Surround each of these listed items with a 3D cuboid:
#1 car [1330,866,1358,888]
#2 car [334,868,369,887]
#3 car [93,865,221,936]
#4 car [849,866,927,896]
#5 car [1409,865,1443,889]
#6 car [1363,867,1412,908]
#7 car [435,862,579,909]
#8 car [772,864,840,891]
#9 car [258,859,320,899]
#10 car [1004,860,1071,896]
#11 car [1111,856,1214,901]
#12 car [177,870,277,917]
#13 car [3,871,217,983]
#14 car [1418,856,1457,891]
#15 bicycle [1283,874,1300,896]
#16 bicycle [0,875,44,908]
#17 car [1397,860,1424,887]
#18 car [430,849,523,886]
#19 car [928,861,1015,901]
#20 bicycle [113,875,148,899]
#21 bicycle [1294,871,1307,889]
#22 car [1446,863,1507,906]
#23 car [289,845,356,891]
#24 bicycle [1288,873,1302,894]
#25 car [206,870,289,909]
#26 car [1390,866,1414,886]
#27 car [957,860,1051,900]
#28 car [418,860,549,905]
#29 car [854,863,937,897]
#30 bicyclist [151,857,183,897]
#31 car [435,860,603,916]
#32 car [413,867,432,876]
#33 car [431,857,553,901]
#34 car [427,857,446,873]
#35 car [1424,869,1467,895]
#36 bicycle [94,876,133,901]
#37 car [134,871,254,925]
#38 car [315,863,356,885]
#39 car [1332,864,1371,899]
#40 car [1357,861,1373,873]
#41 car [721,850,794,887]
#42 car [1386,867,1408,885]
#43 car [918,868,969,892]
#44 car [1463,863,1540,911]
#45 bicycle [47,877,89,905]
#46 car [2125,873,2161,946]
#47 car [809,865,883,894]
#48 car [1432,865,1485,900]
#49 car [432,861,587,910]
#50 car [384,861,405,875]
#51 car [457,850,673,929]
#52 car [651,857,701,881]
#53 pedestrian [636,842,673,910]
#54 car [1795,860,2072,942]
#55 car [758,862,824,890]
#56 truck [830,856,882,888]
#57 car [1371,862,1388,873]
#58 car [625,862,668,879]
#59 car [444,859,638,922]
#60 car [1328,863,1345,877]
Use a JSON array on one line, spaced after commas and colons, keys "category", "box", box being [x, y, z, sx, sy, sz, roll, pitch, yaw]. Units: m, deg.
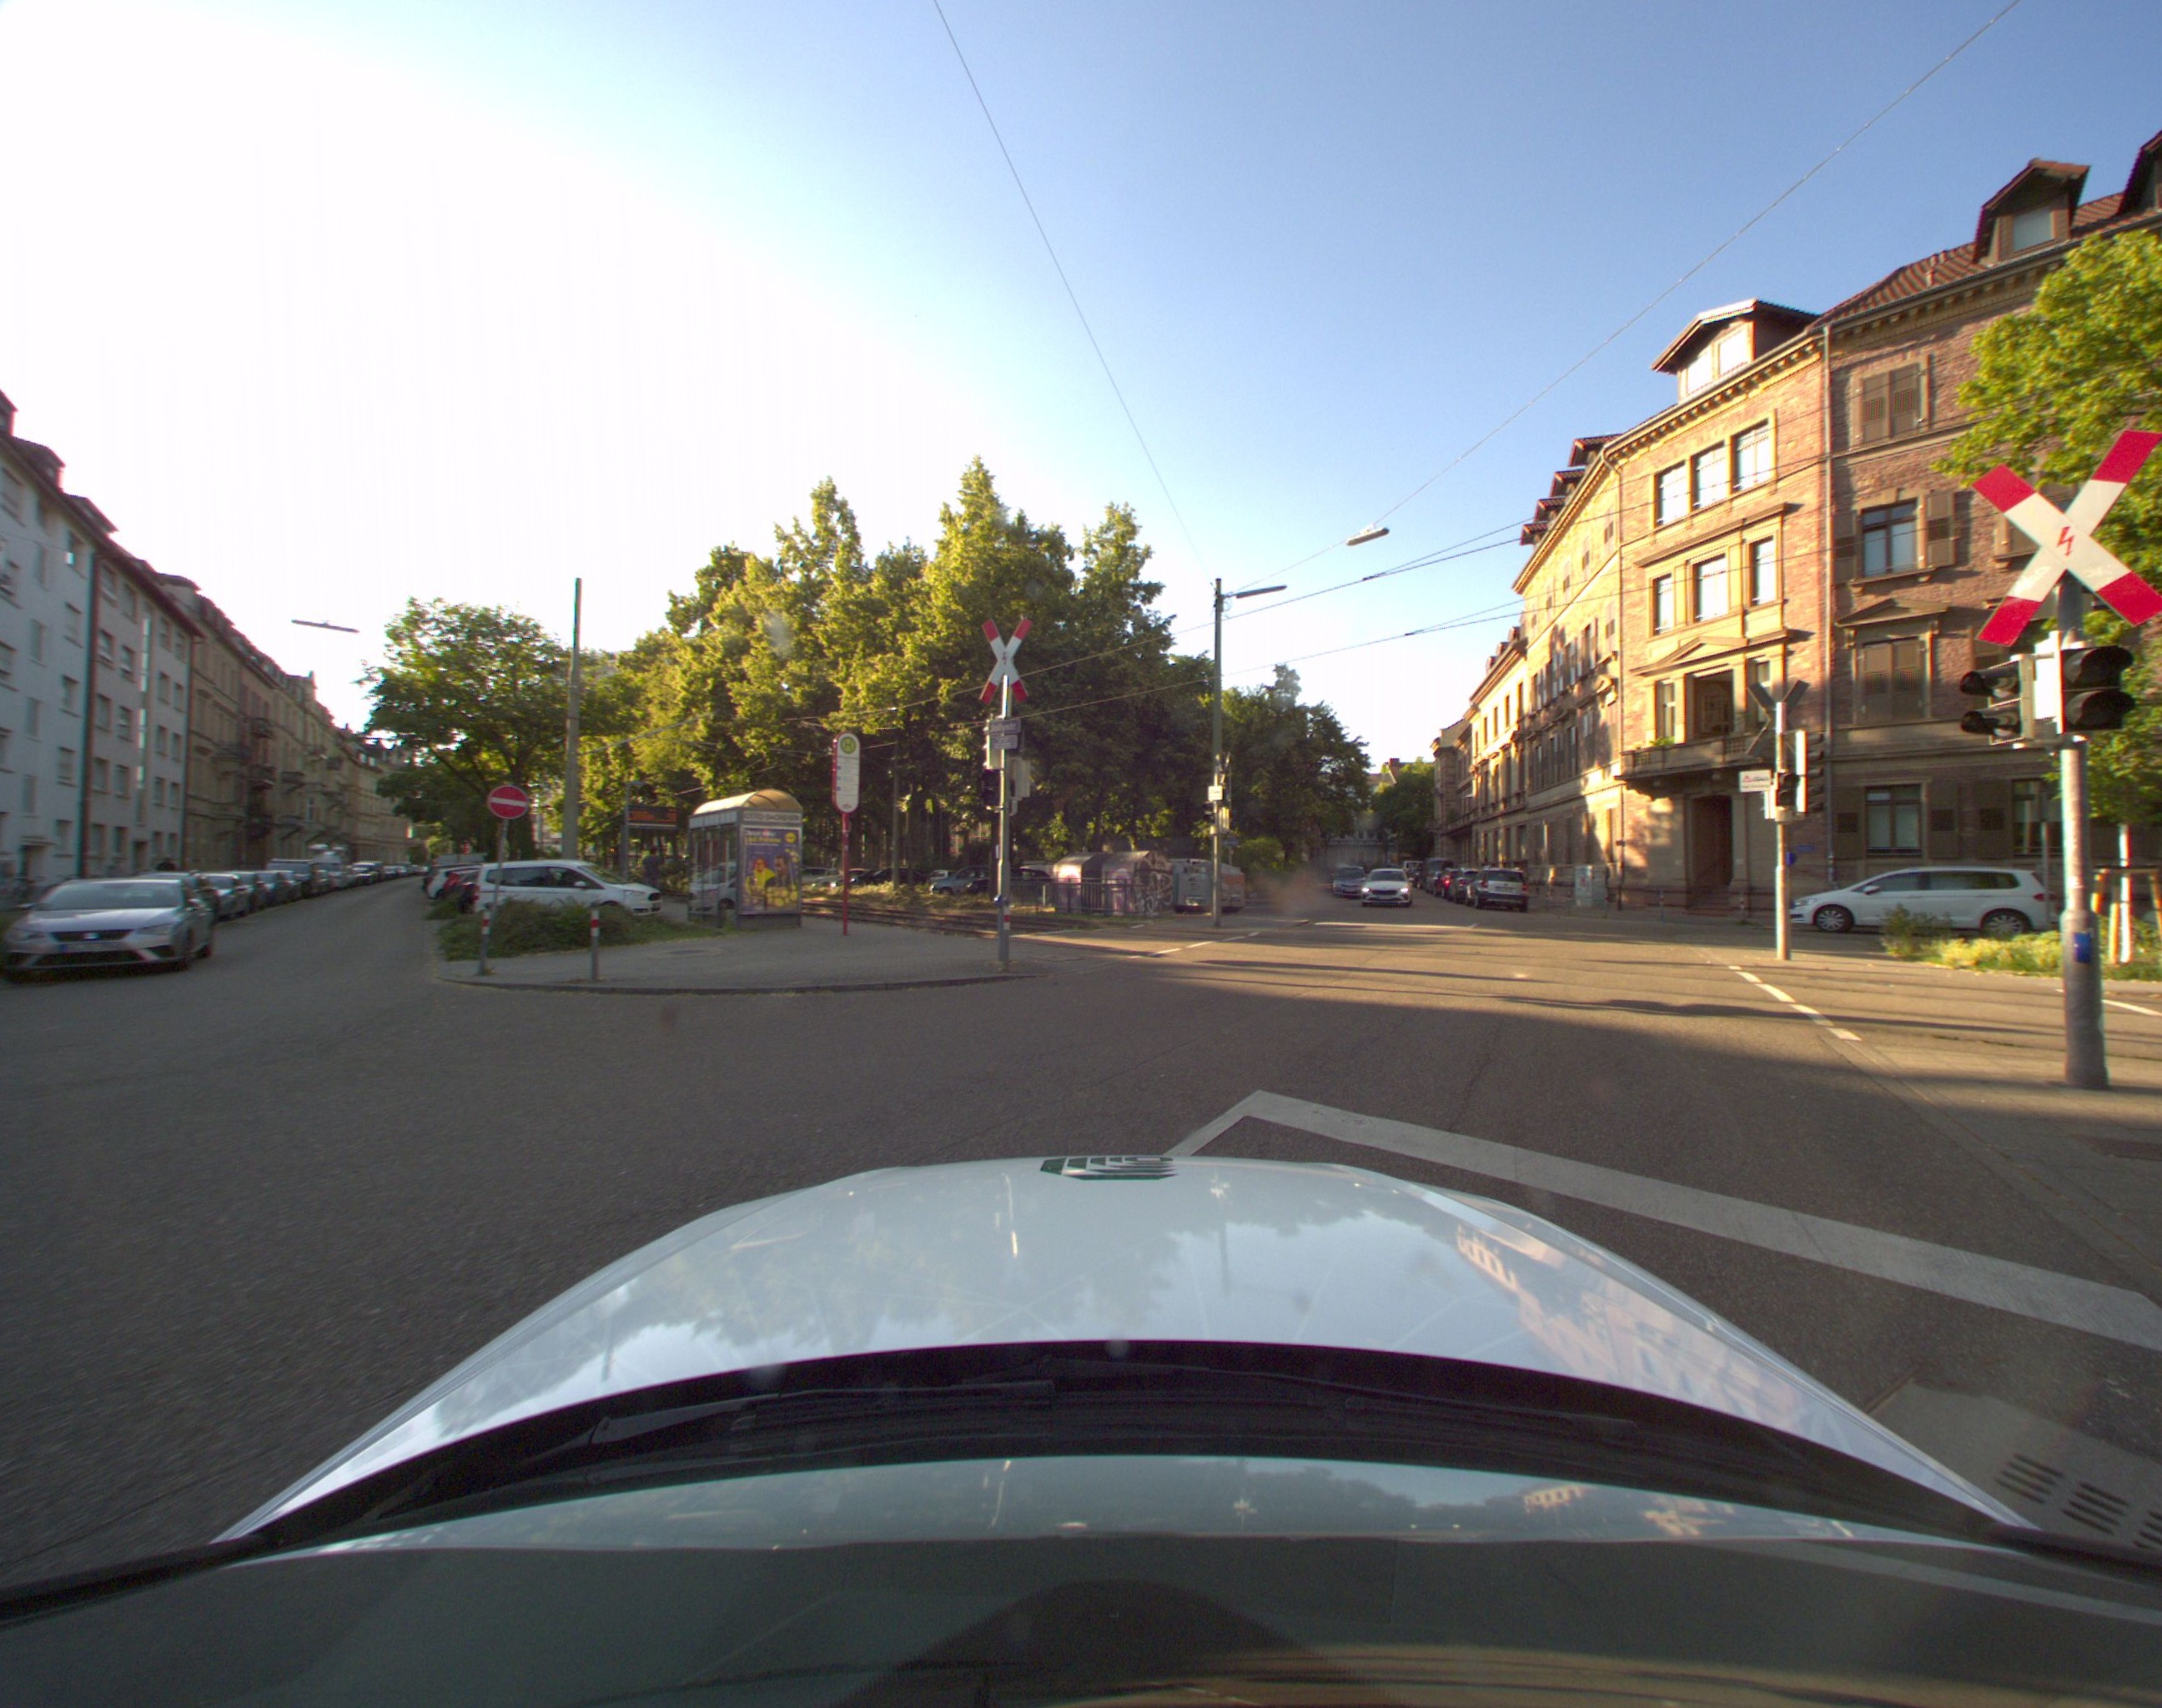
[{"category": "car", "box": [19.697, 1.681, 60.971, 1.811, 1.500, 3.949, 3, 0, 18]}, {"category": "car", "box": [-59.173, 1.915, 66.108, 1.724, 1.446, 3.956, 0, 0, -37]}, {"category": "car", "box": [-24.484, 1.143, 21.723, 1.725, 1.673, 3.953, 0, 0, -41]}, {"category": "car", "box": [-10.184, 1.423, 42.971, 3.828, 1.392, 1.726, 3, -4, -19]}, {"category": "car", "box": [24.472, 1.593, 57.841, 1.783, 1.523, 3.973, 3, 0, 18]}, {"category": "car", "box": [12.025, 1.245, 31.848, 1.687, 1.457, 4.084, 0, -1, 22]}, {"category": "car", "box": [-22.329, 1.197, 31.858, 4.234, 1.458, 1.600, -3, 1, -14]}, {"category": "car", "box": [-16.741, 1.462, 49.694, 3.828, 1.422, 1.726, 3, -4, -19]}, {"category": "car", "box": [-40.651, 1.227, 41.876, 1.724, 1.933, 3.956, 0, 0, -36]}, {"category": "car", "box": [-2.426, 1.298, 44.726, 1.585, 1.904, 3.854, 1, -1, -44]}, {"category": "car", "box": [3.804, 1.117, 38.582, 4.601, 2.003, 1.962, -1, -1, 43]}, {"category": "car", "box": [-30.025, 1.330, 28.767, 1.724, 1.446, 3.956, 0, 0, -36]}, {"category": "car", "box": [-15.326, 1.035, 13.079, 1.726, 1.446, 3.951, 0, 0, -43]}, {"category": "car", "box": [22.918, 1.213, 52.450, 1.783, 2.072, 3.973, 3, 0, 18]}, {"category": "bicycle", "box": [10.831, 1.583, 41.873, 0.592, 1.101, 2.640, 0, -1, 20]}, {"category": "bicycle", "box": [-34.298, 1.199, 26.246, 0.535, 1.003, 2.151, 1, -1, -38]}, {"category": "car", "box": [27.795, 1.626, 68.756, 1.783, 2.072, 3.973, 3, 0, 18]}, {"category": "car", "box": [-47.528, 1.016, 64.135, 5.253, 2.571, 2.265, -3, 1, -11]}, {"category": "car", "box": [-4.866, 1.203, 36.188, 3.613, 1.563, 1.599, 3, -2, -15]}, {"category": "bicycle", "box": [-43.171, 1.479, 36.995, 0.631, 1.003, 2.150, 1, -1, -39]}, {"category": "bicycle", "box": [13.693, 1.593, 50.700, 0.592, 1.101, 2.640, 0, -1, 19]}, {"category": "car", "box": [17.832, 1.335, 36.900, 1.811, 1.723, 4.564, 3, 0, 18]}, {"category": "car", "box": [-50.030, 0.859, 53.876, 2.572, 2.887, 5.421, 0, 0, -36]}, {"category": "bicycle", "box": [11.714, 1.593, 44.459, 0.592, 1.101, 2.639, 0, -1, 18]}, {"category": "car", "box": [-33.997, 1.393, 33.327, 1.724, 1.446, 3.956, 0, 0, -36]}, {"category": "car", "box": [31.341, 2.097, 79.577, 1.783, 1.839, 3.973, 3, 0, 18]}, {"category": "car", "box": [-3.231, 1.077, 33.912, 3.613, 1.447, 1.599, 3, -2, -16]}, {"category": "car", "box": [-26.137, 1.225, 35.723, 4.217, 1.651, 1.856, -3, 1, -3]}, {"category": "car", "box": [-9.288, 1.316, 40.782, 3.828, 1.497, 1.726, 3, -4, -19]}, {"category": "bicyclist", "box": [-37.416, 0.950, 33.351, 0.717, 1.617, 0.715, 1, -1, -38]}, {"category": "car", "box": [-18.697, 1.099, 27.294, 4.234, 1.507, 1.600, -3, 1, -14]}, {"category": "car", "box": [-102.798, 2.730, 127.137, 1.721, 1.446, 3.961, 0, 0, -30]}, {"category": "car", "box": [-27.755, 1.146, 38.460, 4.217, 1.749, 1.856, -3, 1, -3]}, {"category": "car", "box": [-107.654, 1.862, 136.046, 1.721, 2.562, 5.513, 0, 0, -30]}, {"category": "car", "box": [20.950, 1.569, 46.908, 1.783, 1.345, 3.973, 3, 0, 18]}, {"category": "bicycle", "box": [-40.828, 1.448, 34.391, 0.631, 1.003, 2.150, 1, -1, -39]}, {"category": "car", "box": [-27.345, 1.295, 25.248, 1.724, 1.446, 3.956, 0, 0, -36]}, {"category": "car", "box": [-53.745, 1.414, 58.751, 1.724, 1.446, 3.956, 0, 0, -36]}, {"category": "car", "box": [14.269, 1.406, 43.002, 1.811, 1.615, 4.311, 3, 0, 18]}, {"category": "car", "box": [44.730, 2.071, 128.402, 1.980, 1.684, 4.012, 1, -2, 12]}, {"category": "car", "box": [-23.547, 1.097, 59.417, 4.482, 2.477, 1.814, 3, -4, -8]}, {"category": "car", "box": [32.840, 2.247, 84.716, 1.783, 1.727, 3.973, 3, 0, 18]}, {"category": "car", "box": [-8.889, 1.656, 52.397, 1.585, 1.467, 3.557, 1, -1, -42]}, {"category": "car", "box": [16.390, 1.254, 31.965, 1.901, 1.657, 4.205, 3, 0, 17]}, {"category": "bicycle", "box": [-38.661, 1.390, 31.096, 0.536, 1.003, 2.150, 1, -1, -39]}, {"category": "car", "box": [23.950, 1.183, 16.177, 3.677, 1.490, 1.752, 0, -4, 42]}, {"category": "car", "box": [-13.068, 1.422, 45.213, 3.828, 1.392, 1.726, 3, -4, -19]}, {"category": "car", "box": [19.378, 1.405, 41.921, 1.784, 1.614, 3.971, 3, 0, 15]}, {"category": "car", "box": [-20.694, 1.107, 29.661, 4.234, 1.458, 1.600, -3, 1, -14]}, {"category": "car", "box": [-92.495, 1.873, 109.743, 1.723, 1.820, 3.958, 0, 0, -34]}, {"category": "car", "box": [-12.936, 0.848, 20.647, 4.225, 1.652, 1.603, -3, 1, -8]}, {"category": "car", "box": [-41.453, 1.585, 83.512, 4.076, 2.211, 1.814, 3, -4, -8]}, {"category": "pedestrian", "box": [-12.197, 0.630, 23.317, 0.851, 1.911, 0.832, 1, -1, -22]}, {"category": "car", "box": [20.187, 1.071, 19.596, 4.442, 1.650, 1.885, 1, -2, 44]}, {"category": "car", "box": [-18.449, 1.413, 51.941, 3.828, 1.588, 1.726, 3, -4, -19]}, {"category": "truck", "box": [-17.357, 1.383, 62.648, 2.385, 2.352, 4.333, 1, -1, -38]}, {"category": "car", "box": [46.928, 2.121, 128.042, 1.980, 1.684, 4.012, 1, -2, 12]}, {"category": "car", "box": [-52.294, 2.008, 98.085, 4.076, 1.790, 1.814, 3, -4, -8]}, {"category": "car", "box": [-15.282, 0.988, 23.272, 4.198, 1.436, 1.693, -3, 1, -14]}, {"category": "car", "box": [30.484, 1.900, 97.121, 1.811, 1.500, 3.949, 3, 0, 18]}]
